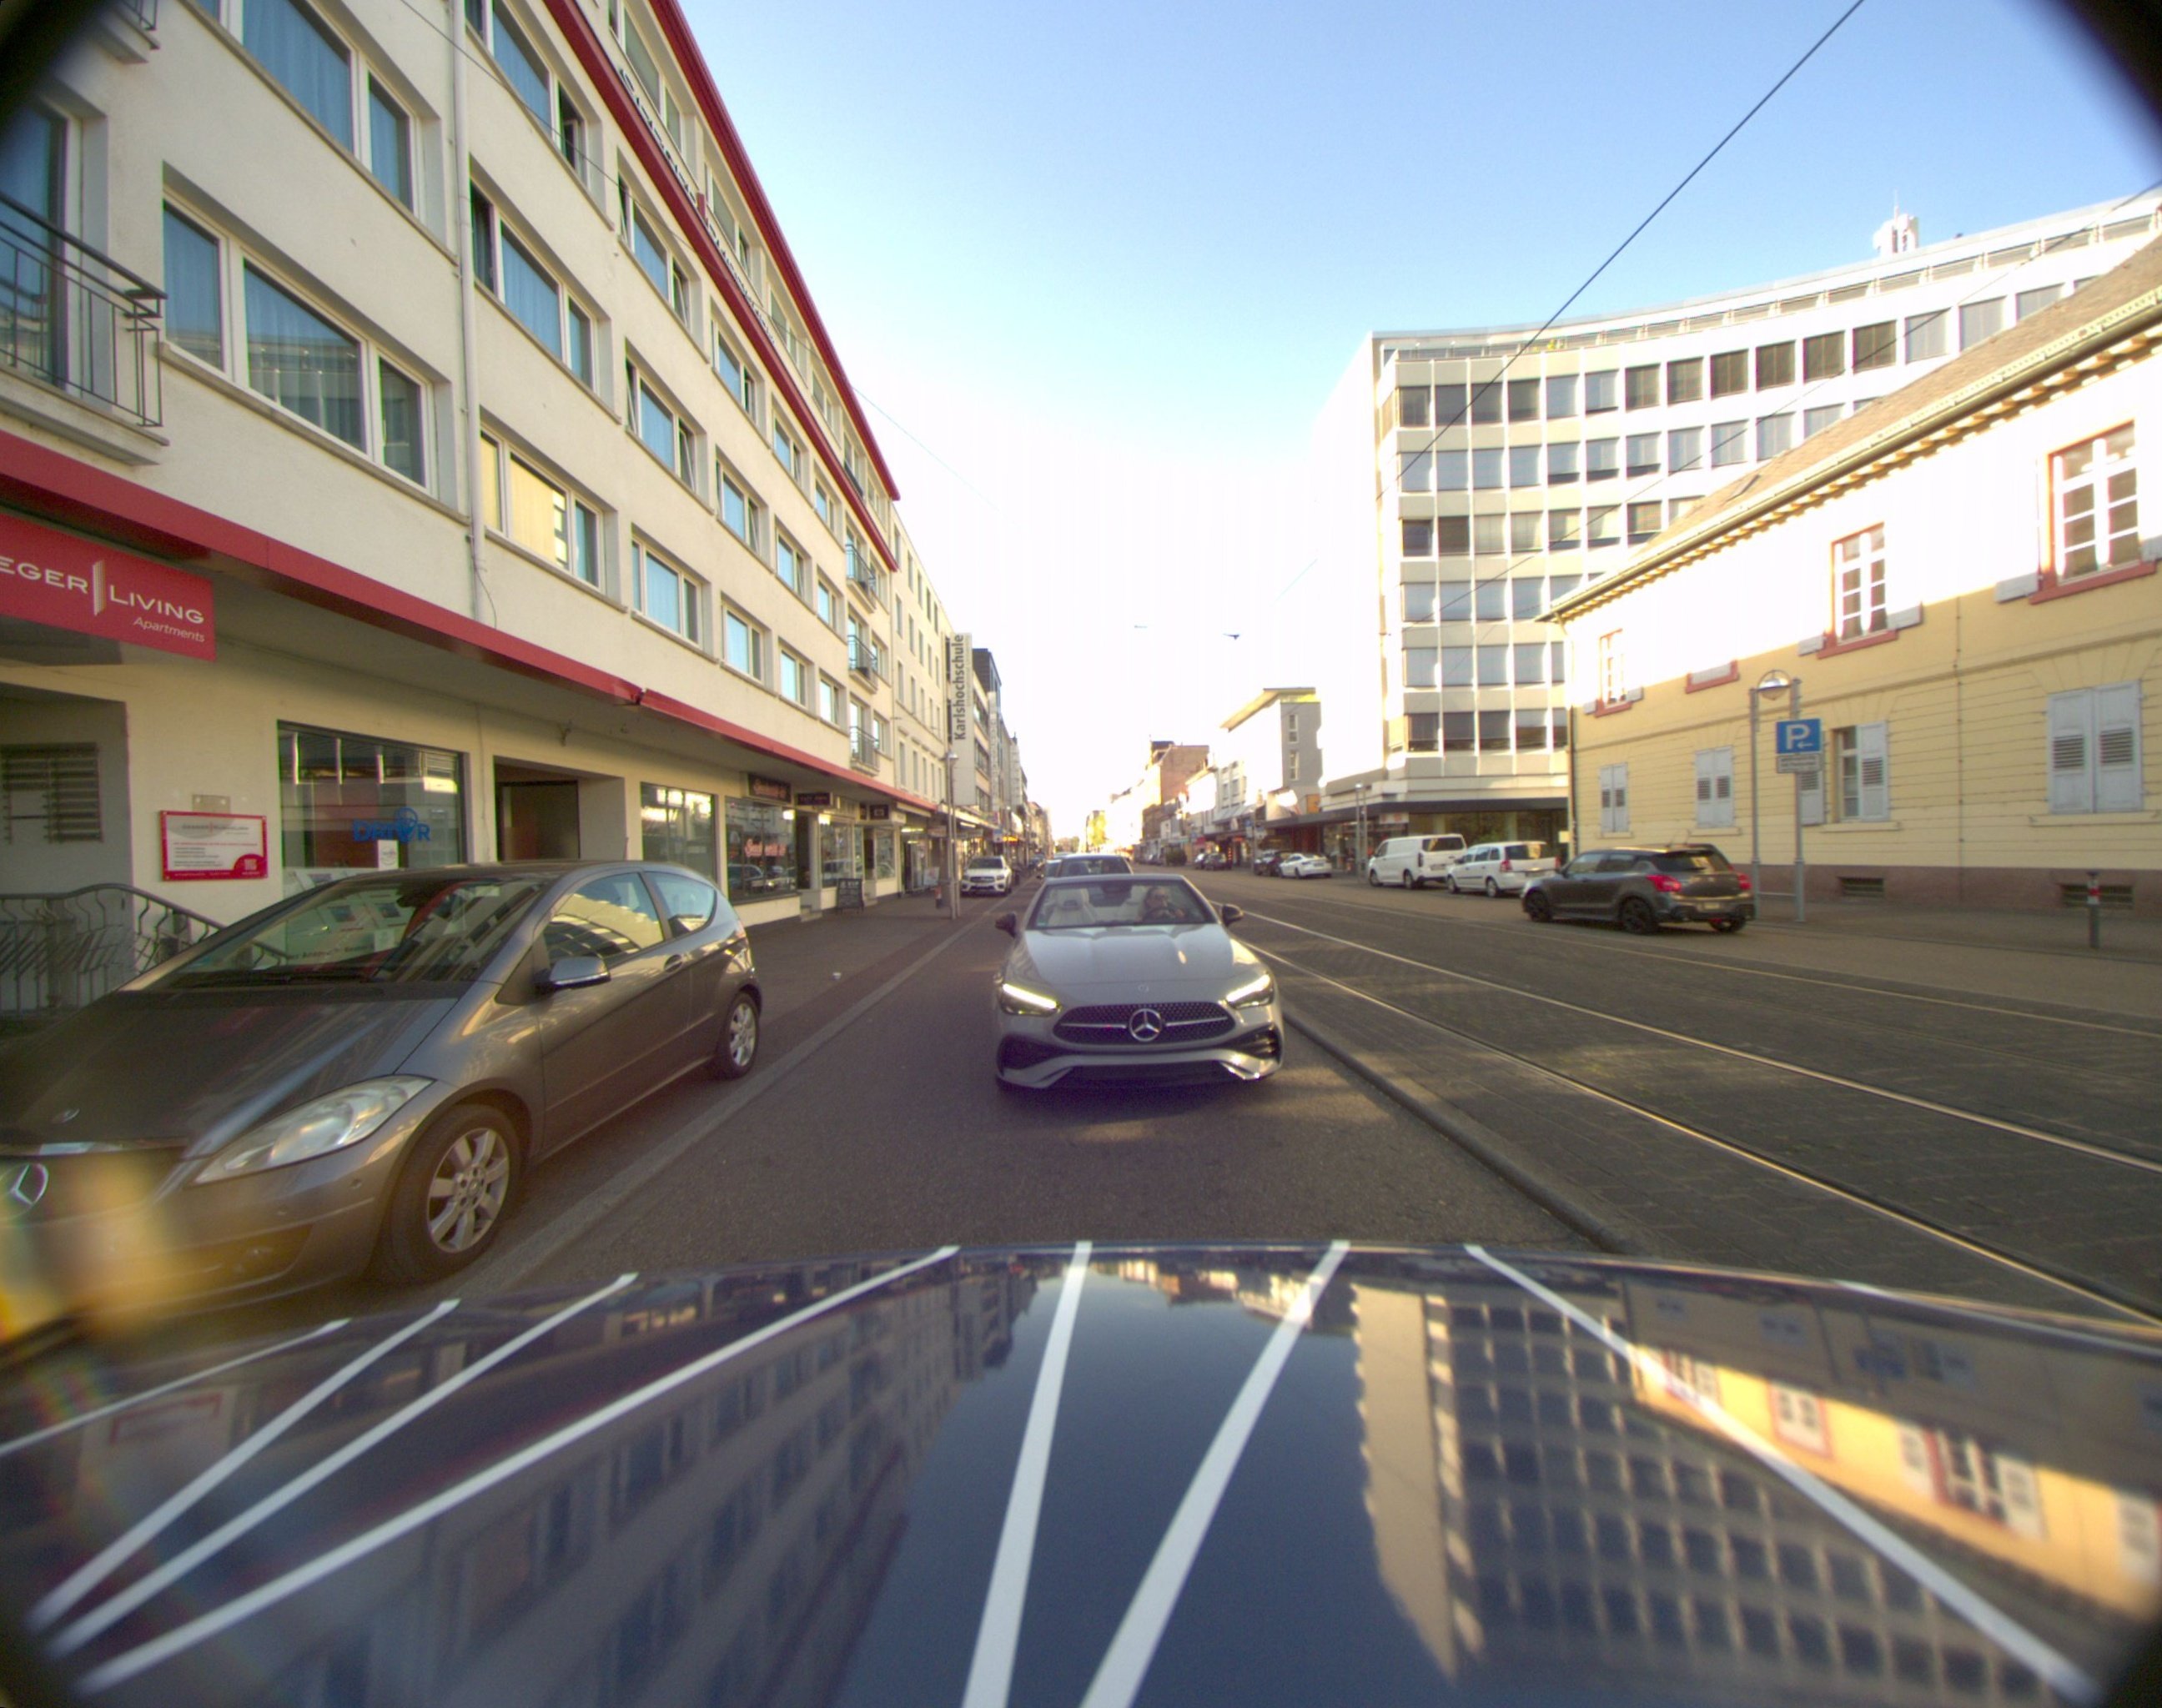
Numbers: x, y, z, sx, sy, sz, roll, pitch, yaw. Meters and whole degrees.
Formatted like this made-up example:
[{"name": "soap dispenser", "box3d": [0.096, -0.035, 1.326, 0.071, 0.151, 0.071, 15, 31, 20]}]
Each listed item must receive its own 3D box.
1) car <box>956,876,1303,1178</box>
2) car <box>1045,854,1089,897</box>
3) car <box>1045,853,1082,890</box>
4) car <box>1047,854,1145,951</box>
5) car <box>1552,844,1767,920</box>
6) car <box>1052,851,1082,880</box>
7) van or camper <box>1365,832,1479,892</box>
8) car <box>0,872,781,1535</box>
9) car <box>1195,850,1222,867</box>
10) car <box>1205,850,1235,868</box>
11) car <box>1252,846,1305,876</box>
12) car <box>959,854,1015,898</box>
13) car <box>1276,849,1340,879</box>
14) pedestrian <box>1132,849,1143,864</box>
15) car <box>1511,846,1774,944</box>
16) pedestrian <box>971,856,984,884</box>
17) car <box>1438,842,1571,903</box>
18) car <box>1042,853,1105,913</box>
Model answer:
[{"name": "car", "box3d": [0.254, 1.003, 6.494, 1.869, 1.431, 4.773, 0, 1, 0]}, {"name": "car", "box3d": [-0.559, 0.850, 32.001, 1.737, 1.654, 3.960, 0, 1, 0]}, {"name": "car", "box3d": [-0.838, 0.814, 37.412, 1.737, 1.654, 3.781, 0, 1, 0]}, {"name": "car", "box3d": [0.257, 0.857, 15.424, 1.737, 1.654, 3.960, 0, 1, 0]}, {"name": "car", "box3d": [12.863, 0.542, 17.253, 1.781, 1.431, 3.960, -3, 1, 0]}, {"name": "car", "box3d": [-0.857, 0.643, 46.589, 1.737, 1.654, 3.960, 0, 1, 0]}, {"name": "van or camper", "box3d": [12.748, 0.251, 28.804, 1.960, 1.962, 4.796, -3, 1, -2]}, {"name": "car", "box3d": [-3.220, 0.947, 3.907, 1.781, 1.560, 3.960, 0, 1, 0]}, {"name": "car", "box3d": [11.848, 0.402, 71.036, 1.786, 1.511, 3.832, -2, 1, -1]}, {"name": "car", "box3d": [11.951, 0.393, 65.488, 1.786, 1.408, 3.596, -2, 1, -2]}, {"name": "car", "box3d": [12.306, 0.395, 47.559, 1.931, 1.632, 4.280, -4, 1, -3]}, {"name": "car", "box3d": [-3.804, 0.846, 31.411, 1.783, 1.654, 4.162, 0, 1, 0]}, {"name": "car", "box3d": [12.524, 0.505, 42.200, 1.931, 1.444, 4.291, -4, 1, -5]}, {"name": "pedestrian", "box3d": [7.000, 0.304, 94.126, 1.008, 1.811, 1.034, -2, 1, 24]}, {"name": "car", "box3d": [9.832, 0.638, 13.746, 1.782, 1.500, 3.859, -1, 0, -3]}, {"name": "pedestrian", "box3d": [-6.754, 1.033, 49.438, 0.706, 1.807, 0.807, -2, 1, -3]}, {"name": "car", "box3d": [12.770, 0.485, 23.237, 1.781, 1.611, 4.175, -3, 1, 2]}, {"name": "car", "box3d": [-0.237, 0.834, 23.682, 1.783, 1.654, 3.960, 0, 1, 0]}]
